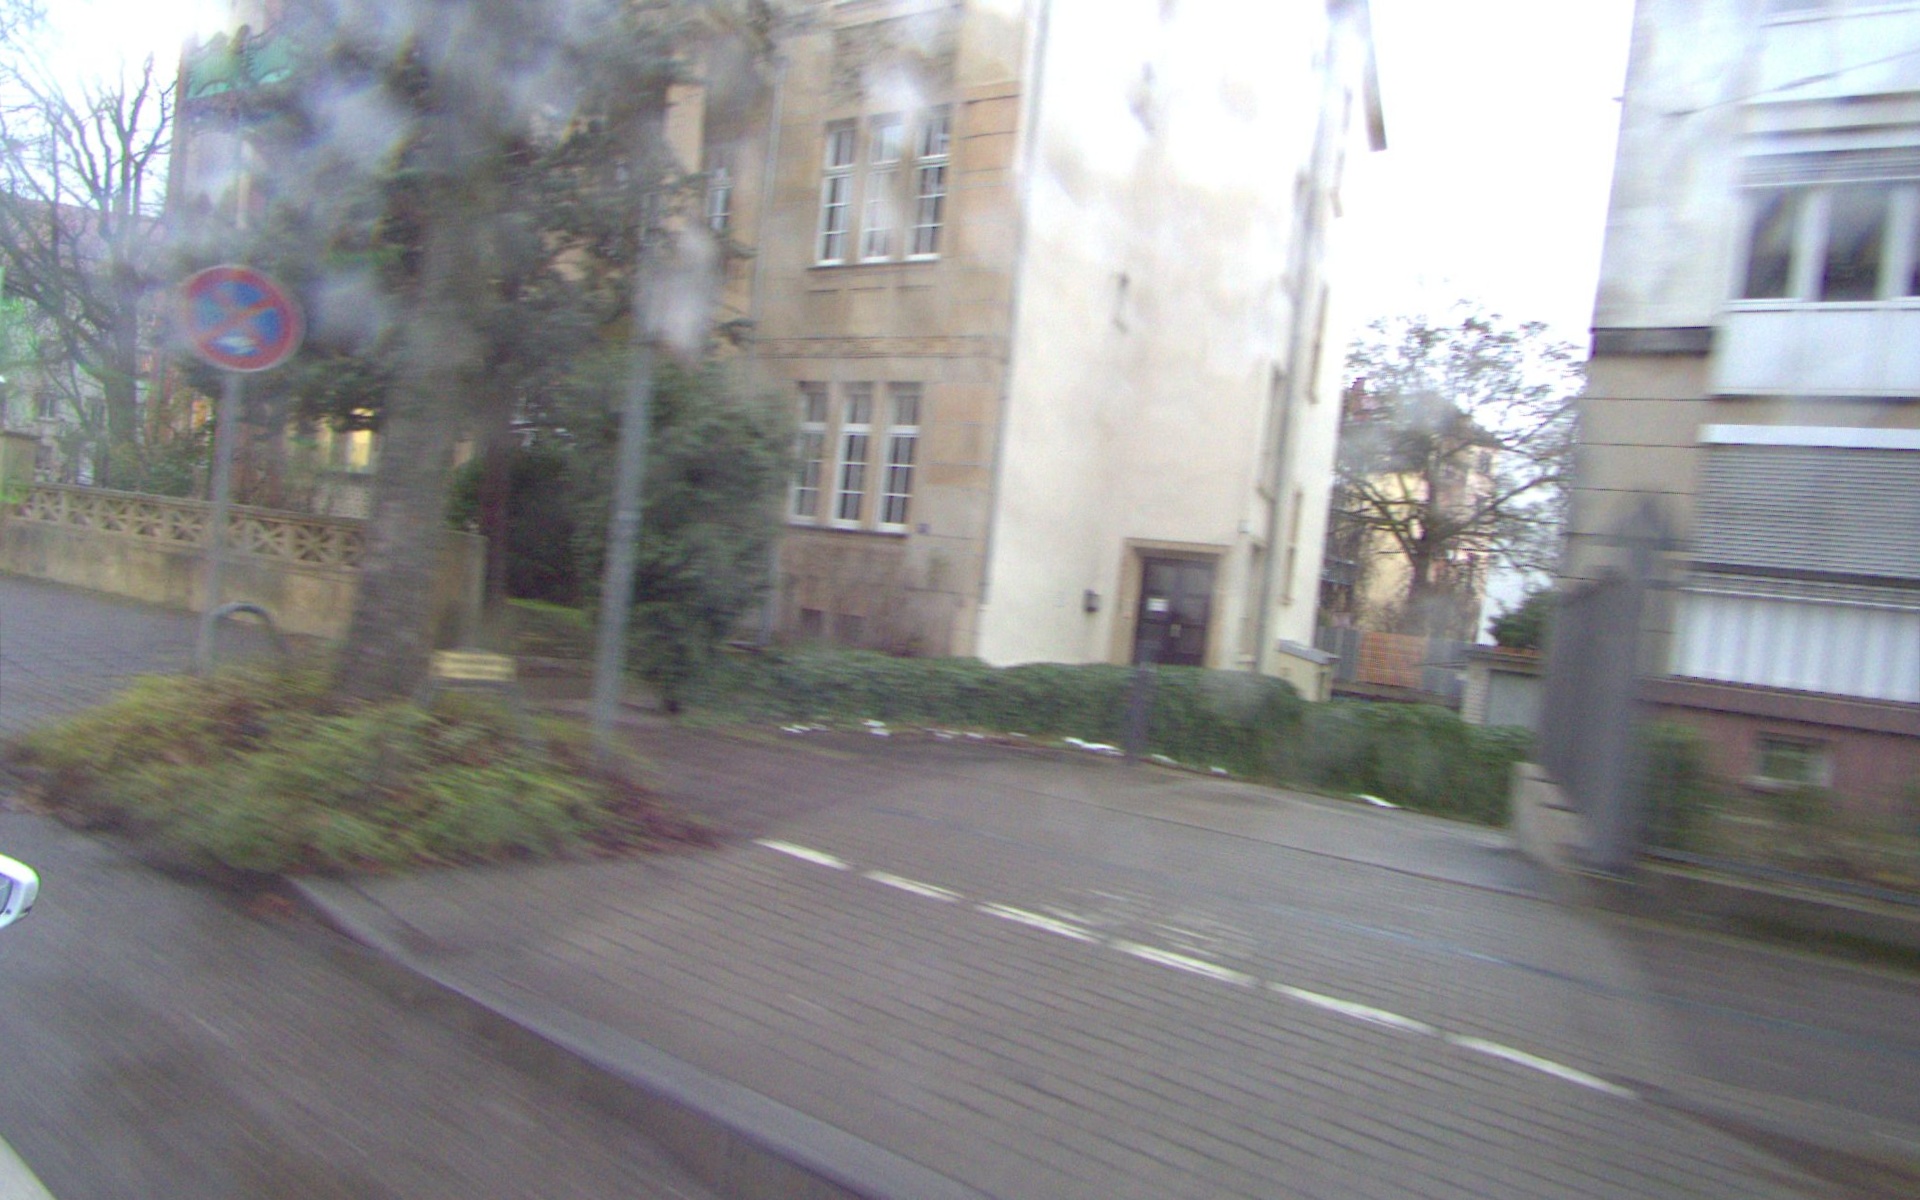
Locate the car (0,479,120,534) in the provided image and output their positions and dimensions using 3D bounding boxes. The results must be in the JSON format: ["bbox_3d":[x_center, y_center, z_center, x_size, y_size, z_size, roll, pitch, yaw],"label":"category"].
[{"bbox_3d":[-29.707,-3.056,32.754,1.641,1.393,3.994,7,0,-7],"label":"car"}]
